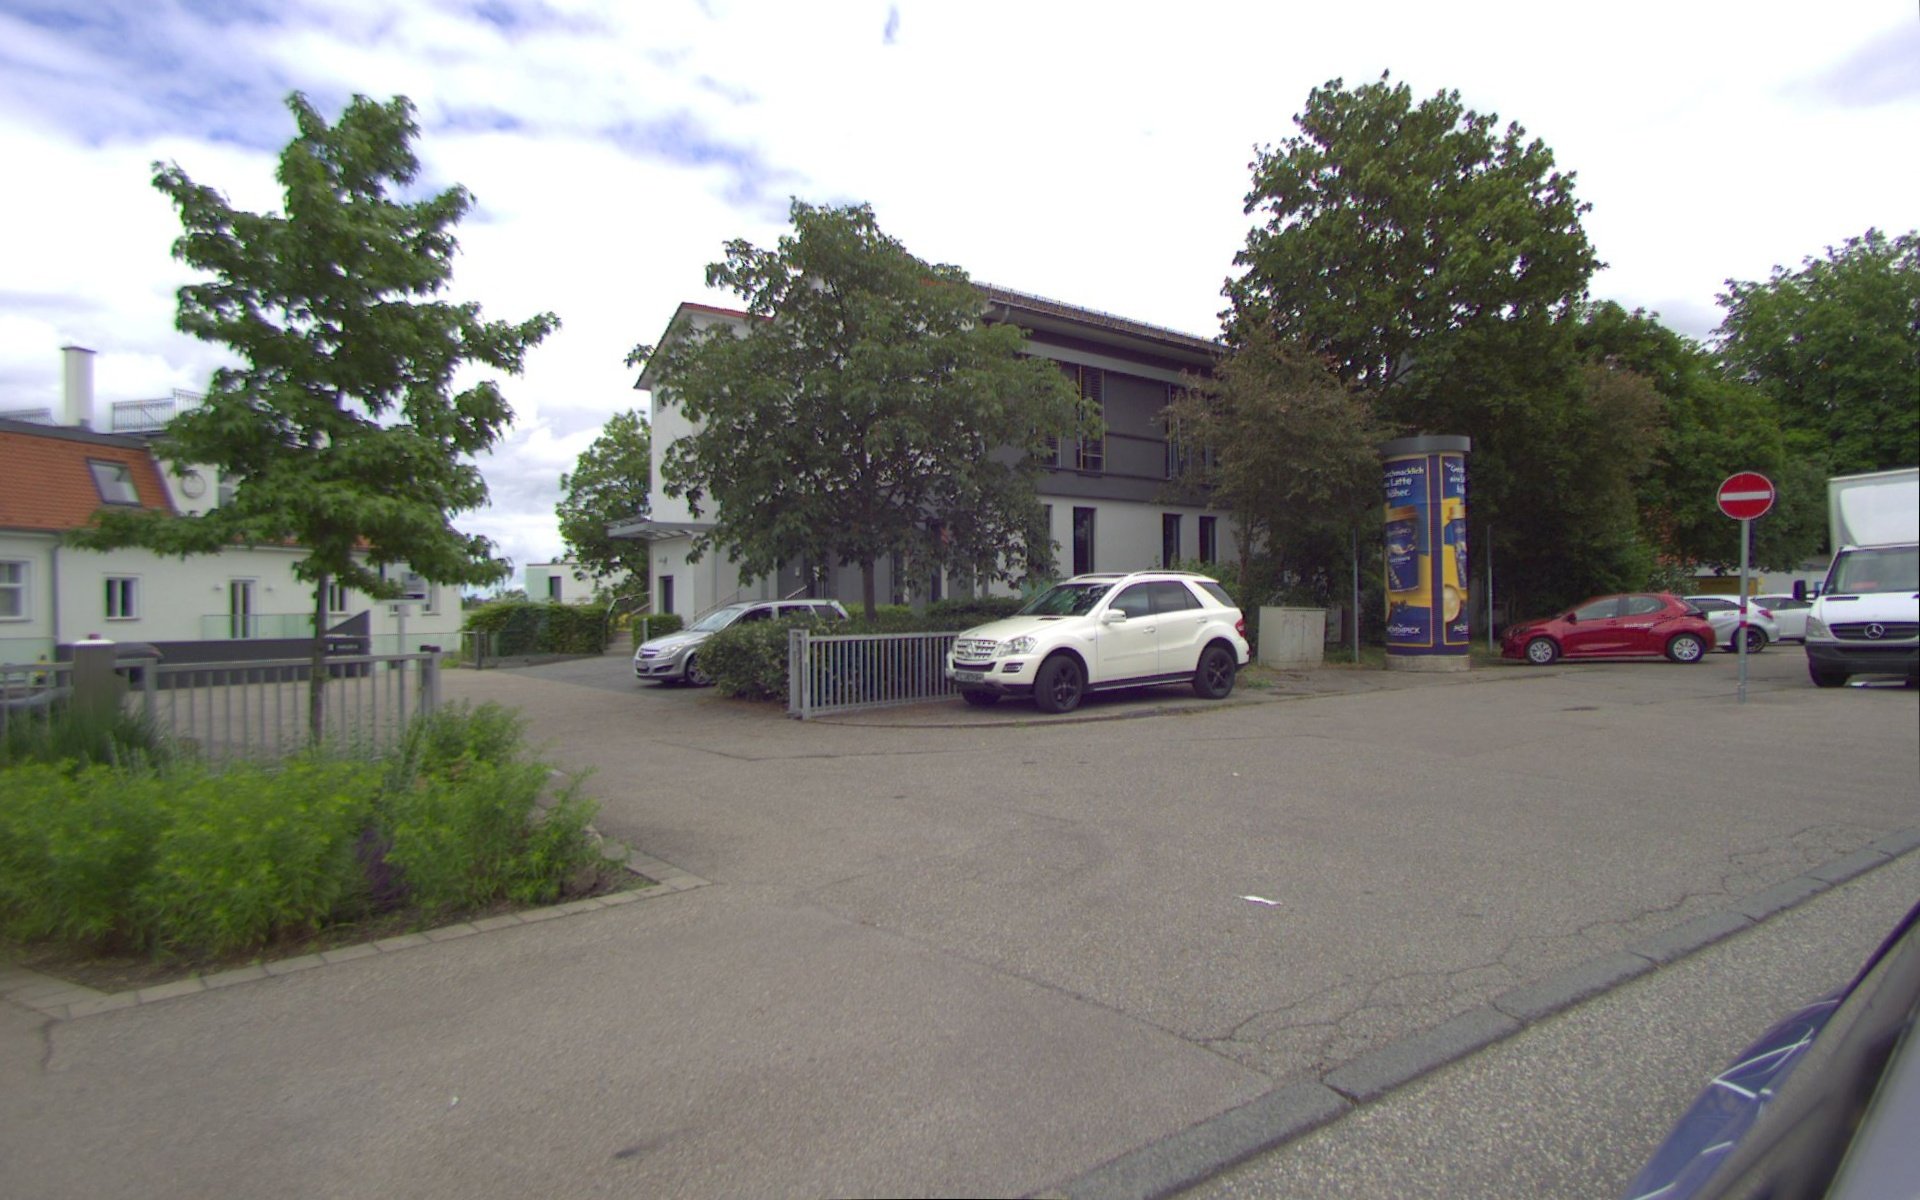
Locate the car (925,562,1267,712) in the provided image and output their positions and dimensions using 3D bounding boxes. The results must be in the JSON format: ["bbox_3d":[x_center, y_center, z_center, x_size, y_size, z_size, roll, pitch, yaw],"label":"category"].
[{"bbox_3d":[1.979,0.406,14.054,4.631,1.780,1.858,-1,0,-34],"label":"car"}]

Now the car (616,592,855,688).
[{"bbox_3d":[-4.175,0.674,19.230,4.145,1.502,1.618,-3,1,-40],"label":"car"}]

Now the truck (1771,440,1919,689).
[{"bbox_3d":[16.343,-0.587,16.468,7.625,3.469,2.544,-2,0,-32],"label":"truck"}]

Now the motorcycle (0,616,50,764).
[{"bbox_3d":[-9.968,0.878,9.212,0.666,1.411,2.430,-1,0,38],"label":"motorcycle"}]

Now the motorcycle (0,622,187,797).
[{"bbox_3d":[-7.984,0.912,8.650,0.666,1.411,2.095,-1,-1,38],"label":"motorcycle"}]

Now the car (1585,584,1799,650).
[{"bbox_3d":[17.875,0.424,24.933,3.957,1.428,1.511,-3,-1,25],"label":"car"}]

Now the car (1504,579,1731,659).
[{"bbox_3d":[13.881,0.432,21.598,3.867,1.502,1.664,-3,-1,32],"label":"car"}]
